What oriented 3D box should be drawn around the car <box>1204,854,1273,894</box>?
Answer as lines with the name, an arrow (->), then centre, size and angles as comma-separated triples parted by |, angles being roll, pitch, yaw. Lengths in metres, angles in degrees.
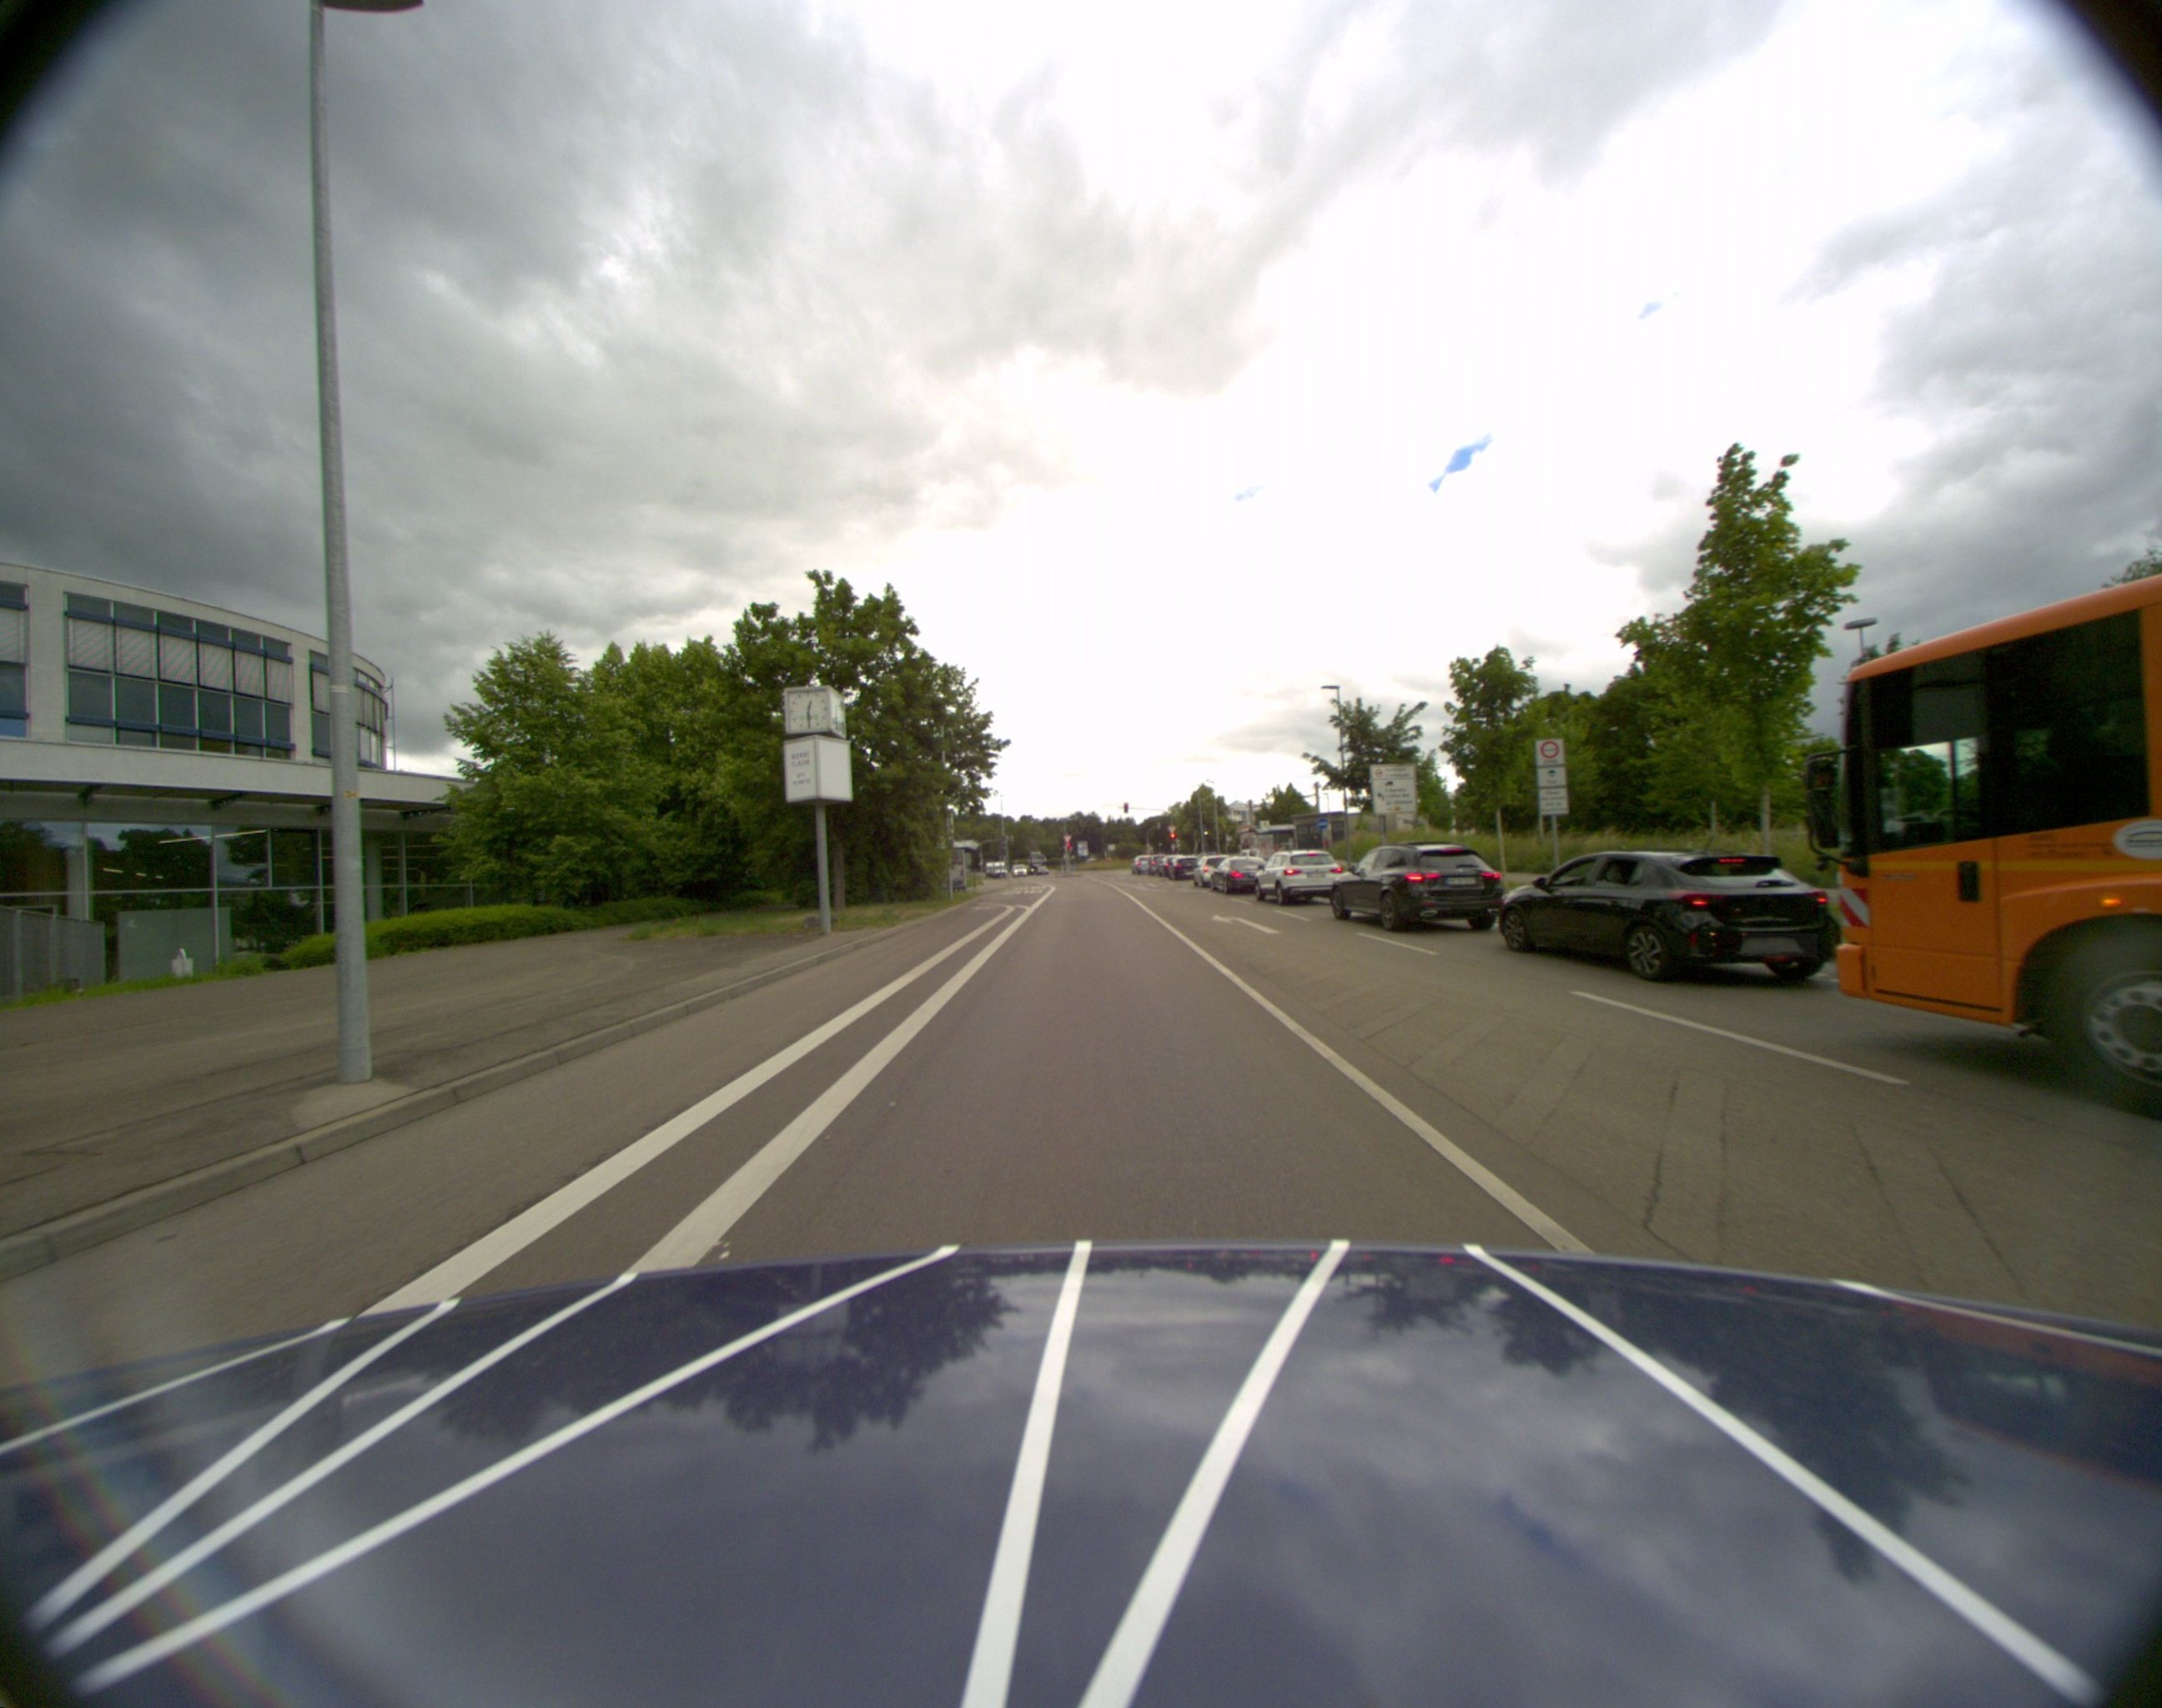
car -> 6.148, 0.744, 30.221 | 1.644, 1.382, 4.885 | -3, 0, -1

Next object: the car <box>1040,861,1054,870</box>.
car -> -5.517, 1.855, 123.261 | 1.636, 1.433, 3.863 | -4, -1, -10

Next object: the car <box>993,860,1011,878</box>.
car -> -12.920, 2.399, 123.536 | 2.228, 2.643, 5.956 | -4, 0, -11

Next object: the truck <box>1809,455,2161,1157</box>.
truck -> 6.681, -0.298, 0.501 | 2.712, 3.466, 9.995 | -3, 0, 0

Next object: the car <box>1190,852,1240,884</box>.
car -> 6.409, 0.663, 36.714 | 1.644, 1.382, 3.762 | -3, 0, -1

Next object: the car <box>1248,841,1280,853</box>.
car -> 29.065, -1.079, 120.833 | 4.456, 1.894, 2.182 | 0, -1, -15

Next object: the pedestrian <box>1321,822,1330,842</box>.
pedestrian -> 20.848, -1.847, 64.802 | 0.549, 1.660, 0.430 | -4, 0, 36

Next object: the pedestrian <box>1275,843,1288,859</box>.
pedestrian -> 16.157, -0.257, 61.220 | 0.774, 1.219, 0.550 | -3, 0, -9

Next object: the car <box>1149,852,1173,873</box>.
car -> 6.185, 0.640, 59.002 | 1.432, 1.518, 2.774 | -3, 0, -3

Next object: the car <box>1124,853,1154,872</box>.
car -> 4.943, 0.727, 65.421 | 1.832, 1.526, 4.218 | -3, 0, -4

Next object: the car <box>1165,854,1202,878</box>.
car -> 6.230, 0.693, 46.421 | 1.644, 1.324, 4.060 | -3, 0, -1

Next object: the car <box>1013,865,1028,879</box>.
car -> -9.905, 2.969, 124.391 | 2.120, 1.979, 4.986 | -5, 0, -4

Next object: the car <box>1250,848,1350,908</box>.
car -> 6.597, 0.689, 23.354 | 1.735, 1.576, 4.223 | -3, 0, -1

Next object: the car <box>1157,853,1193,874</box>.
car -> 6.585, 0.677, 53.511 | 1.804, 1.324, 4.379 | -3, 0, -2

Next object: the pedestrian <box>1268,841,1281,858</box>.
pedestrian -> 15.913, -0.341, 62.414 | 0.774, 1.322, 0.550 | -3, 0, -9

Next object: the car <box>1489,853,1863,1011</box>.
car -> 6.793, 0.765, 9.281 | 1.437, 1.449, 3.894 | -3, 0, 0

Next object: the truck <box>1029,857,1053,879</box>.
truck -> -6.924, 2.425, 131.614 | 3.075, 3.497, 5.956 | -4, 0, -11

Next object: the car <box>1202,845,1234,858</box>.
car -> 20.628, -0.373, 114.545 | 4.222, 1.769, 1.814 | -3, 0, -8

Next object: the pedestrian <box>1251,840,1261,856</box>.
pedestrian -> 15.229, -0.527, 66.110 | 0.550, 1.355, 0.774 | -3, 0, -8

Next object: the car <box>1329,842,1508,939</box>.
car -> 6.473, 0.641, 15.105 | 1.644, 1.576, 4.060 | -3, 0, -1

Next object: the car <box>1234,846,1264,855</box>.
car -> 25.870, -0.531, 117.200 | 4.223, 1.332, 1.813 | 0, -1, -10
